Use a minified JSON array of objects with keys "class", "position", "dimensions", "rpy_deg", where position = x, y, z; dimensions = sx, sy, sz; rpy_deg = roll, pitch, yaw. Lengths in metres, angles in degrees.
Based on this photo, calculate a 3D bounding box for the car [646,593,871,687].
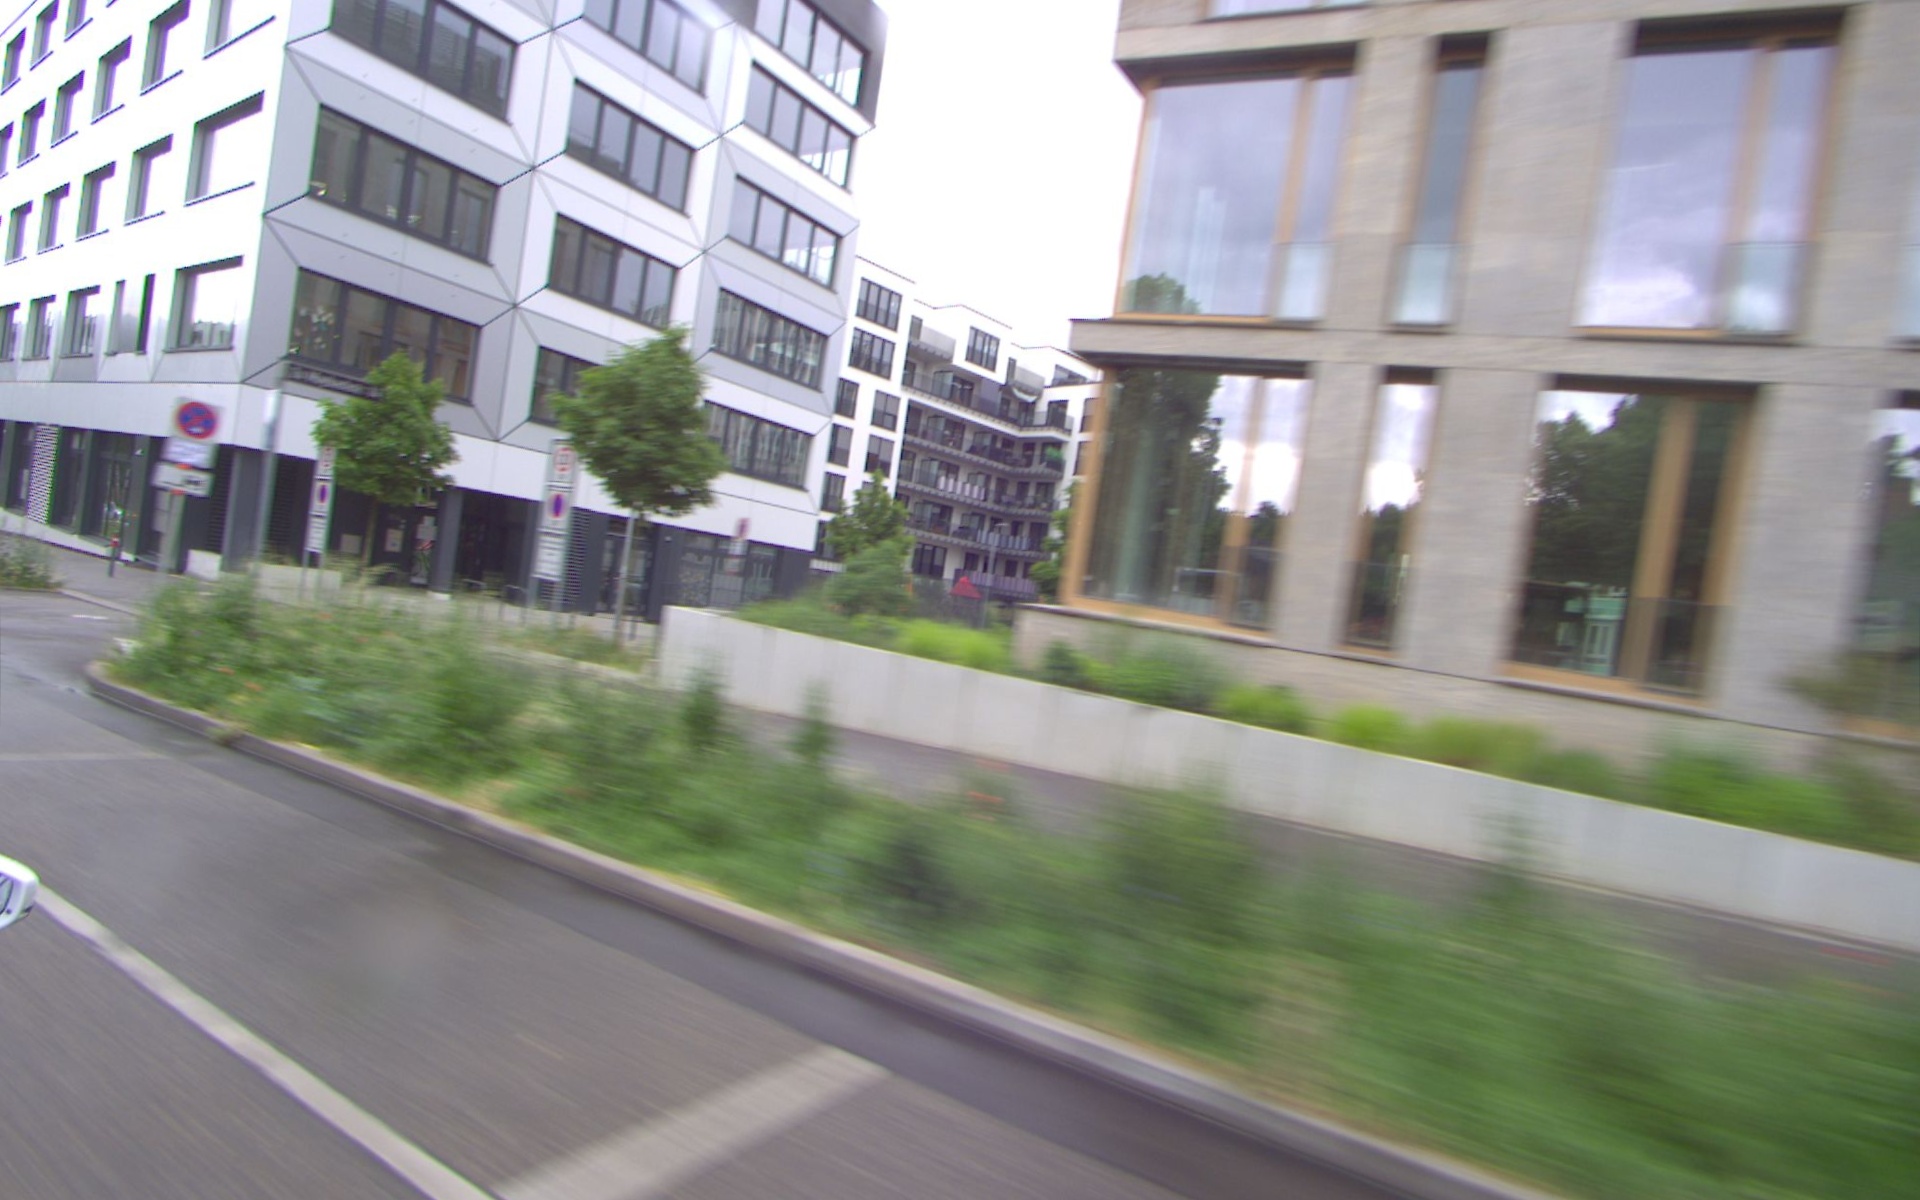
[{"class":"car","position":[-3.719,0.833,19.335],"dimensions":[1.701,1.258,4.239],"rpy_deg":[7,-3,32]}]
